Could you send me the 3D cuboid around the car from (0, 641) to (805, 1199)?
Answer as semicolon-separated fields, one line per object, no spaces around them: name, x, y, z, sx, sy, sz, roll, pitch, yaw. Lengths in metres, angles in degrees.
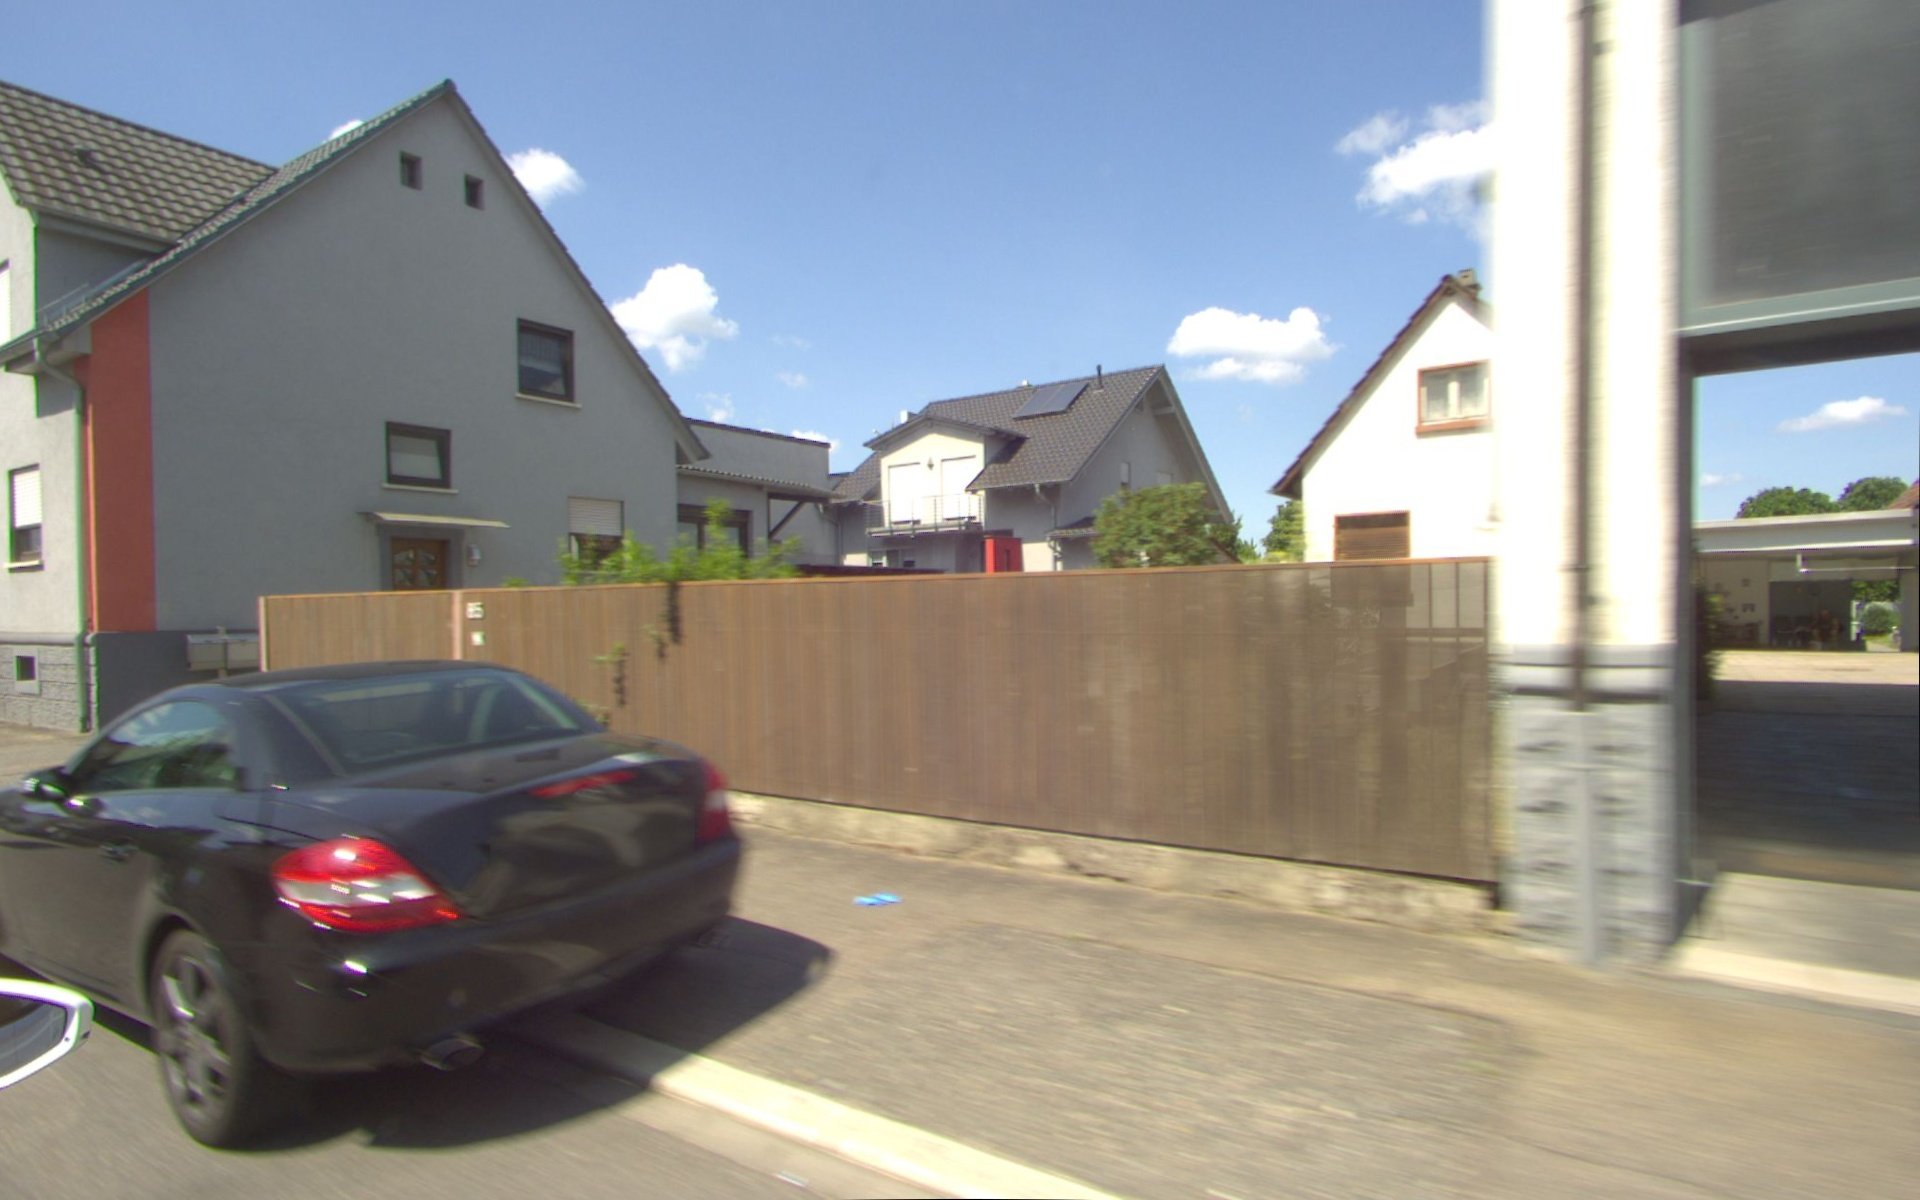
car;-2.789;0.865;4.252;4.089;1.292;1.811;-1;-1;34
